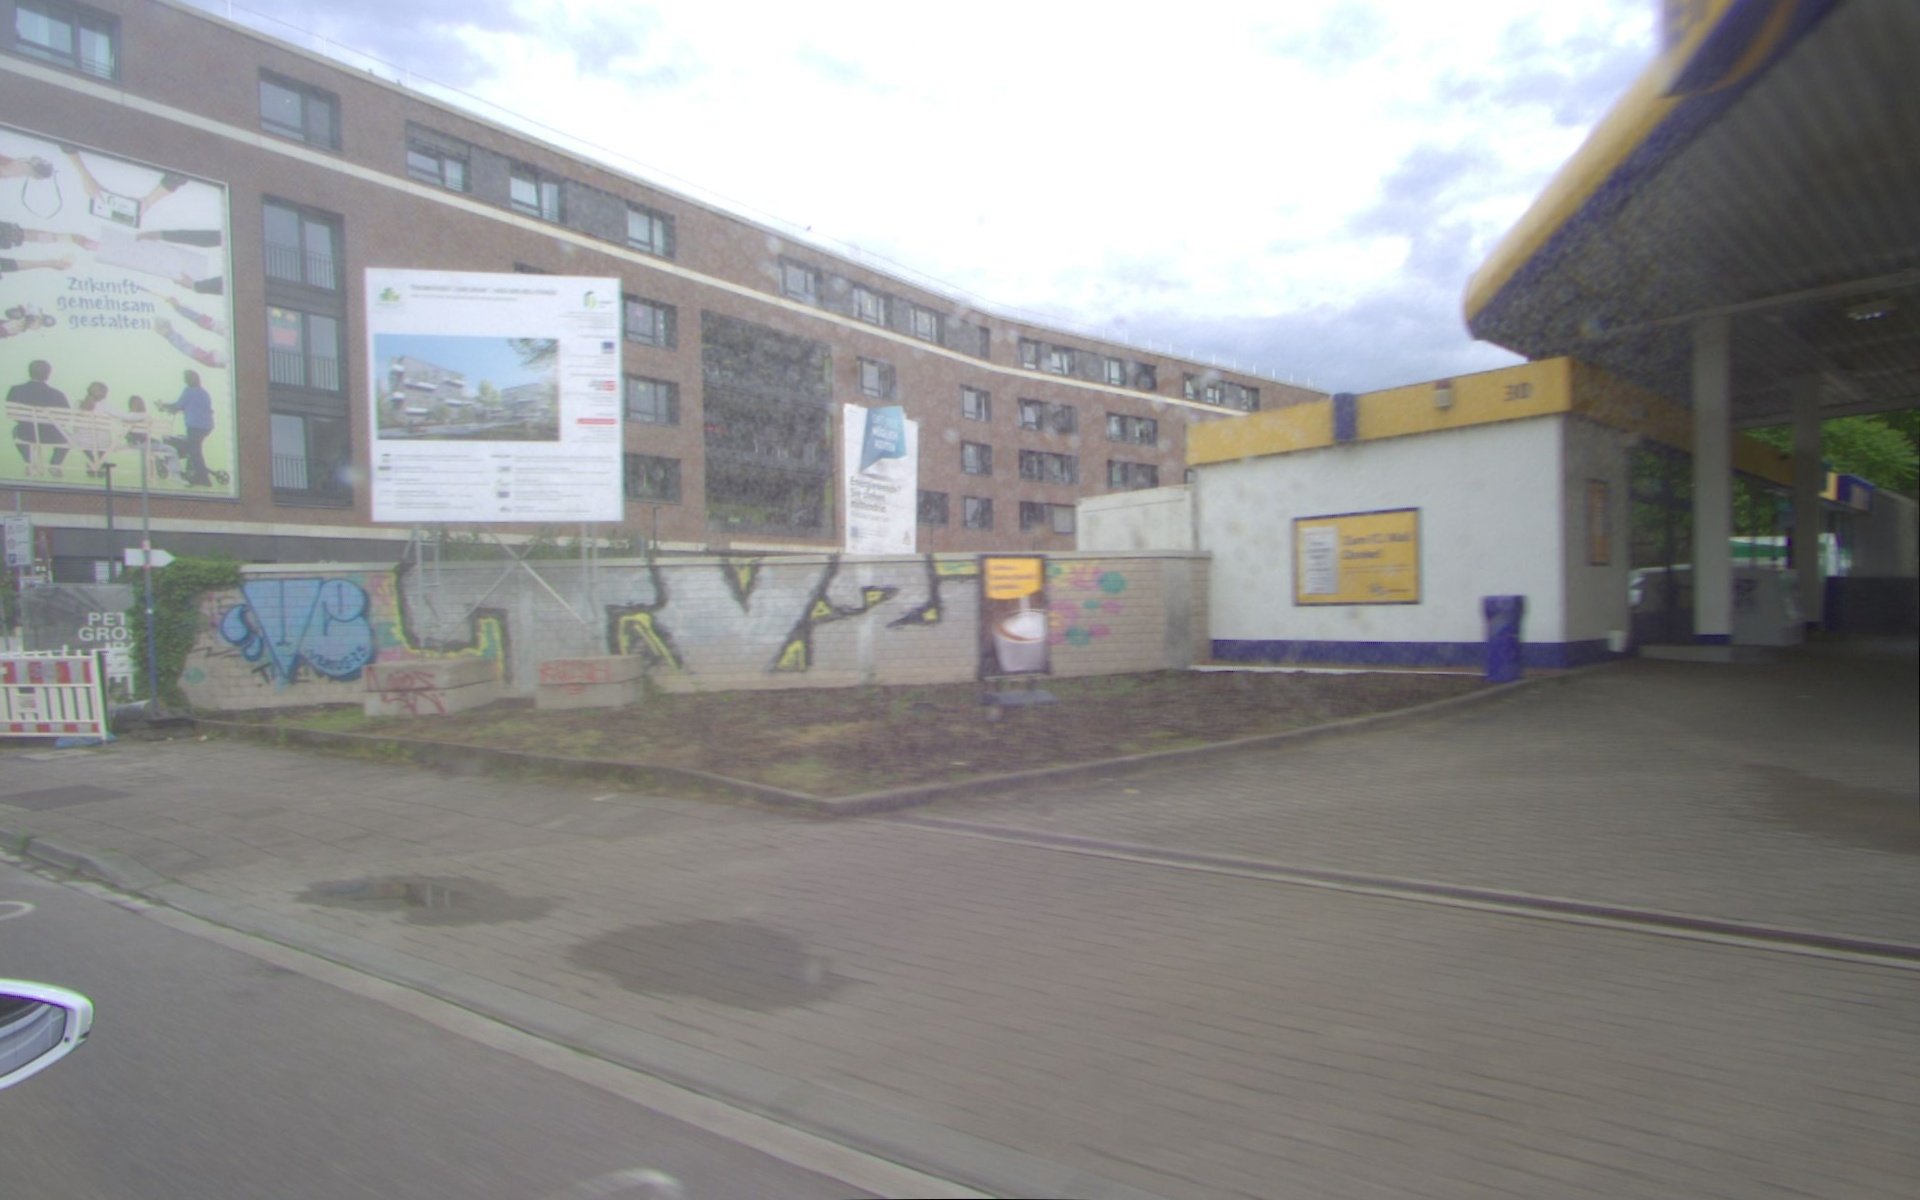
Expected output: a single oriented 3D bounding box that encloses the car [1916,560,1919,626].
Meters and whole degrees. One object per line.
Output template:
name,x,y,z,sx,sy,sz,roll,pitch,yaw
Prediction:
car,25.483,-0.146,23.143,1.921,1.617,4.718,-1,2,-41
